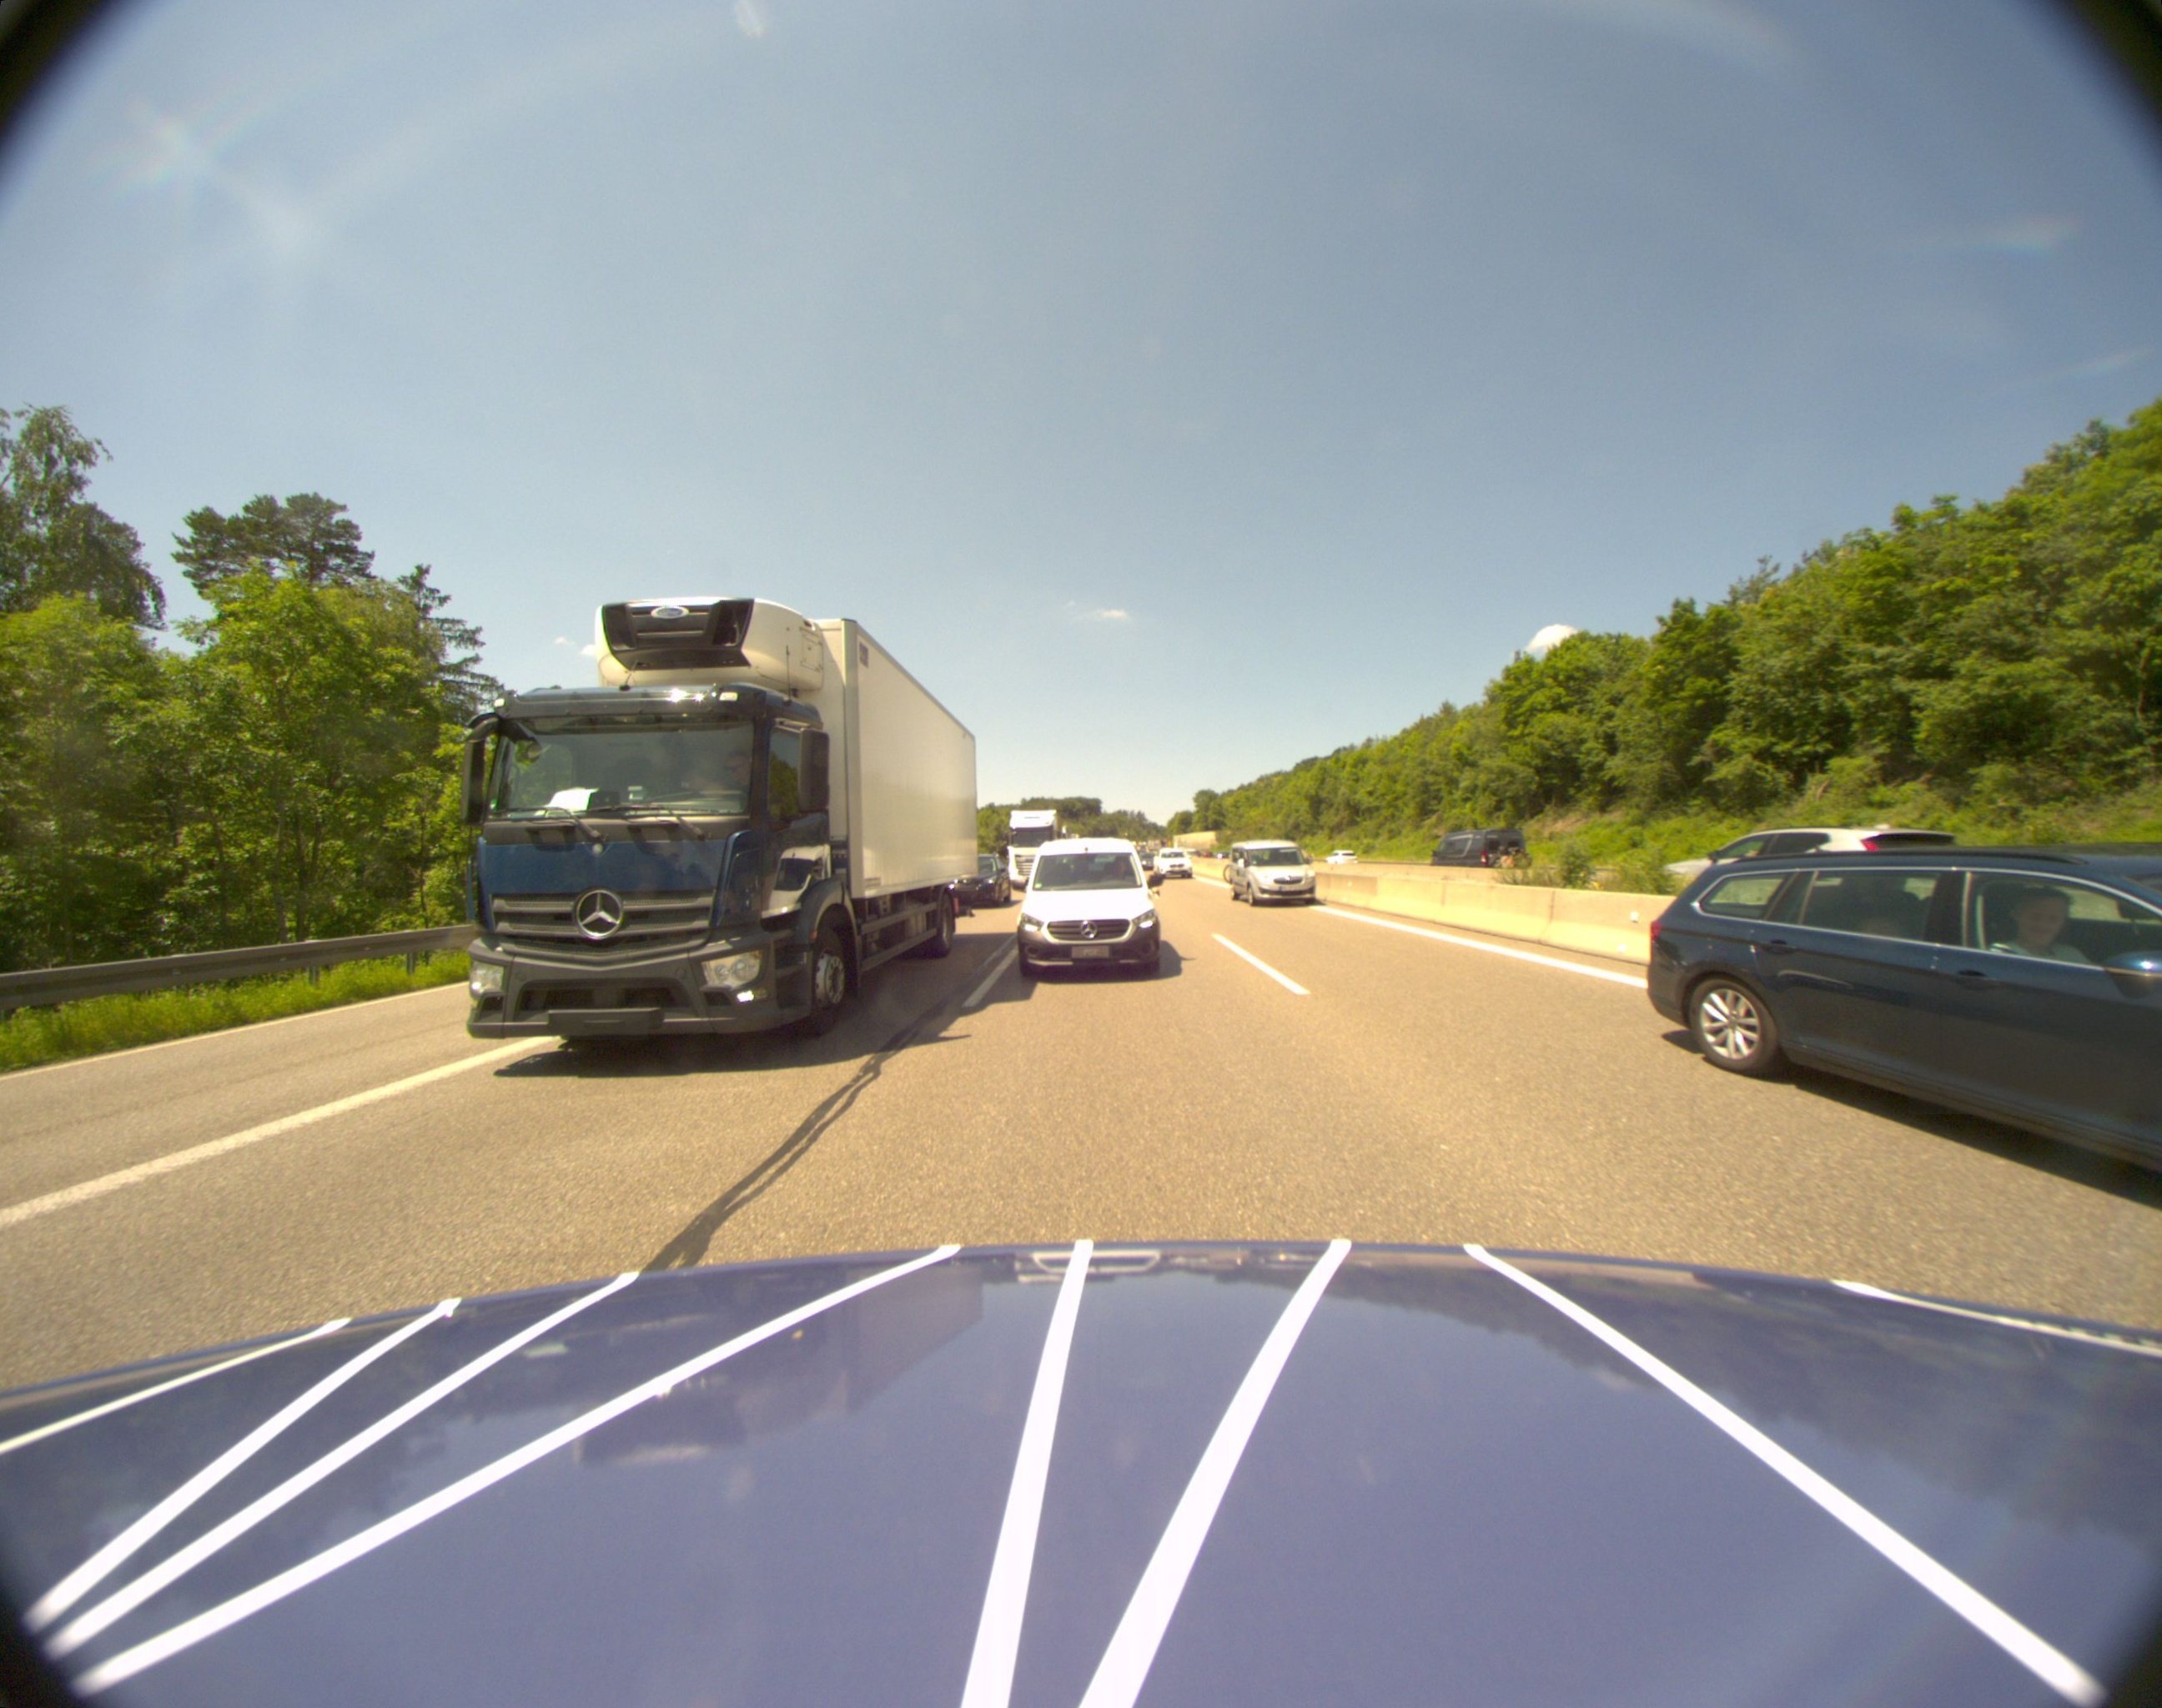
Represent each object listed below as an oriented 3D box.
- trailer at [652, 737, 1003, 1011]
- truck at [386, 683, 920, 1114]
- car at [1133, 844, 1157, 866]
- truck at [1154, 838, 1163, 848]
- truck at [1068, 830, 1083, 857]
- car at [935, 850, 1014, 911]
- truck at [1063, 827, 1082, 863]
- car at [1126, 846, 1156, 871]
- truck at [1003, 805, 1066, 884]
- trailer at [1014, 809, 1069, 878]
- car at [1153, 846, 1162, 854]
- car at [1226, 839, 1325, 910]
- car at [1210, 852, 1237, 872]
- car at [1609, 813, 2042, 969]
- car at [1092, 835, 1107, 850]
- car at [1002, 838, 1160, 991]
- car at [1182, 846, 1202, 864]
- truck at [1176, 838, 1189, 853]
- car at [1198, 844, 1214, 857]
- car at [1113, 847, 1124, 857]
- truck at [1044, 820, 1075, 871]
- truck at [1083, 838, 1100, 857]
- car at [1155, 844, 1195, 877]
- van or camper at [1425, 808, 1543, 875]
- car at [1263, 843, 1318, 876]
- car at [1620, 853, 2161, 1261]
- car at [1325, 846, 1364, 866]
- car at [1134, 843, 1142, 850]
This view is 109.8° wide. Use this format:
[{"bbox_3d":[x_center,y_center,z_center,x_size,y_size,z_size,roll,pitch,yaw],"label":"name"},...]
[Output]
[{"bbox_3d":[-3.151,0.182,12.153,2.562,2.882,7.882,-2,1,2],"label":"trailer"},{"bbox_3d":[-3.363,0.275,7.252,2.562,2.924,4.103,-1,2,2],"label":"truck"},{"bbox_3d":[5.972,0.083,71.521,1.998,2.002,4.000,-2,0,2],"label":"car"},{"bbox_3d":[24.517,-3.495,241.140,2.183,2.868,6.740,-2,2,1],"label":"truck"},{"bbox_3d":[-0.772,-1.647,120.632,2.187,4.073,10.868,-2,0,0],"label":"truck"},{"bbox_3d":[-3.353,0.783,24.837,1.999,1.682,4.609,-1,2,-1],"label":"car"},{"bbox_3d":[-1.063,-1.104,98.817,2.187,4.438,10.868,-2,0,0],"label":"truck"},{"bbox_3d":[4.760,0.327,60.696,1.999,1.747,3.999,-2,2,0],"label":"car"},{"bbox_3d":[-2.523,-0.606,43.397,2.766,4.061,7.332,-2,2,2],"label":"truck"},{"bbox_3d":[-2.411,-0.757,50.348,2.766,4.061,11.614,0,2,1],"label":"trailer"},{"bbox_3d":[19.676,-1.067,196.153,1.975,2.002,4.000,-2,0,0],"label":"car"},{"bbox_3d":[5.534,0.494,22.237,1.857,1.762,4.917,-2,2,3],"label":"car"},{"bbox_3d":[12.506,0.659,66.933,1.783,1.563,3.831,-2,2,3],"label":"car"},{"bbox_3d":[11.695,0.483,12.721,1.998,2.002,5.386,-2,0,1],"label":"car"},{"bbox_3d":[2.661,-1.685,111.369,1.999,2.002,3.998,-2,2,-1],"label":"car"},{"bbox_3d":[0.072,0.653,10.885,1.756,1.681,4.363,-2,2,2],"label":"car"},{"bbox_3d":[13.562,0.084,93.075,1.998,2.002,4.347,-2,2,3],"label":"car"},{"bbox_3d":[27.633,-2.326,206.973,2.699,3.967,7.988,-2,2,1],"label":"truck"},{"bbox_3d":[21.237,-0.609,129.159,2.128,2.002,4.363,-2,2,2],"label":"car"},{"bbox_3d":[6.609,-0.310,133.756,1.803,1.660,4.000,-2,0,0],"label":"car"},{"bbox_3d":[-1.926,-0.776,72.282,2.394,4.438,10.868,-2,0,0],"label":"truck"},{"bbox_3d":[2.520,-1.562,189.917,4.084,4.403,11.396,-2,0,0],"label":"truck"},{"bbox_3d":[5.366,0.340,43.743,1.824,1.696,3.999,-2,2,1],"label":"car"},{"bbox_3d":[19.150,-0.637,36.587,2.159,2.843,6.651,-2,2,0],"label":"van or camper"},{"bbox_3d":[12.222,0.354,44.683,1.998,1.681,4.517,0,-3,0],"label":"car"},{"bbox_3d":[4.893,0.744,3.261,1.879,1.441,4.678,-2,0,1],"label":"car"},{"bbox_3d":[24.251,0.178,69.994,1.998,1.682,4.512,-2,2,0],"label":"car"},{"bbox_3d":[16.640,-2.164,221.739,1.975,2.002,4.000,-2,0,0],"label":"car"}]
